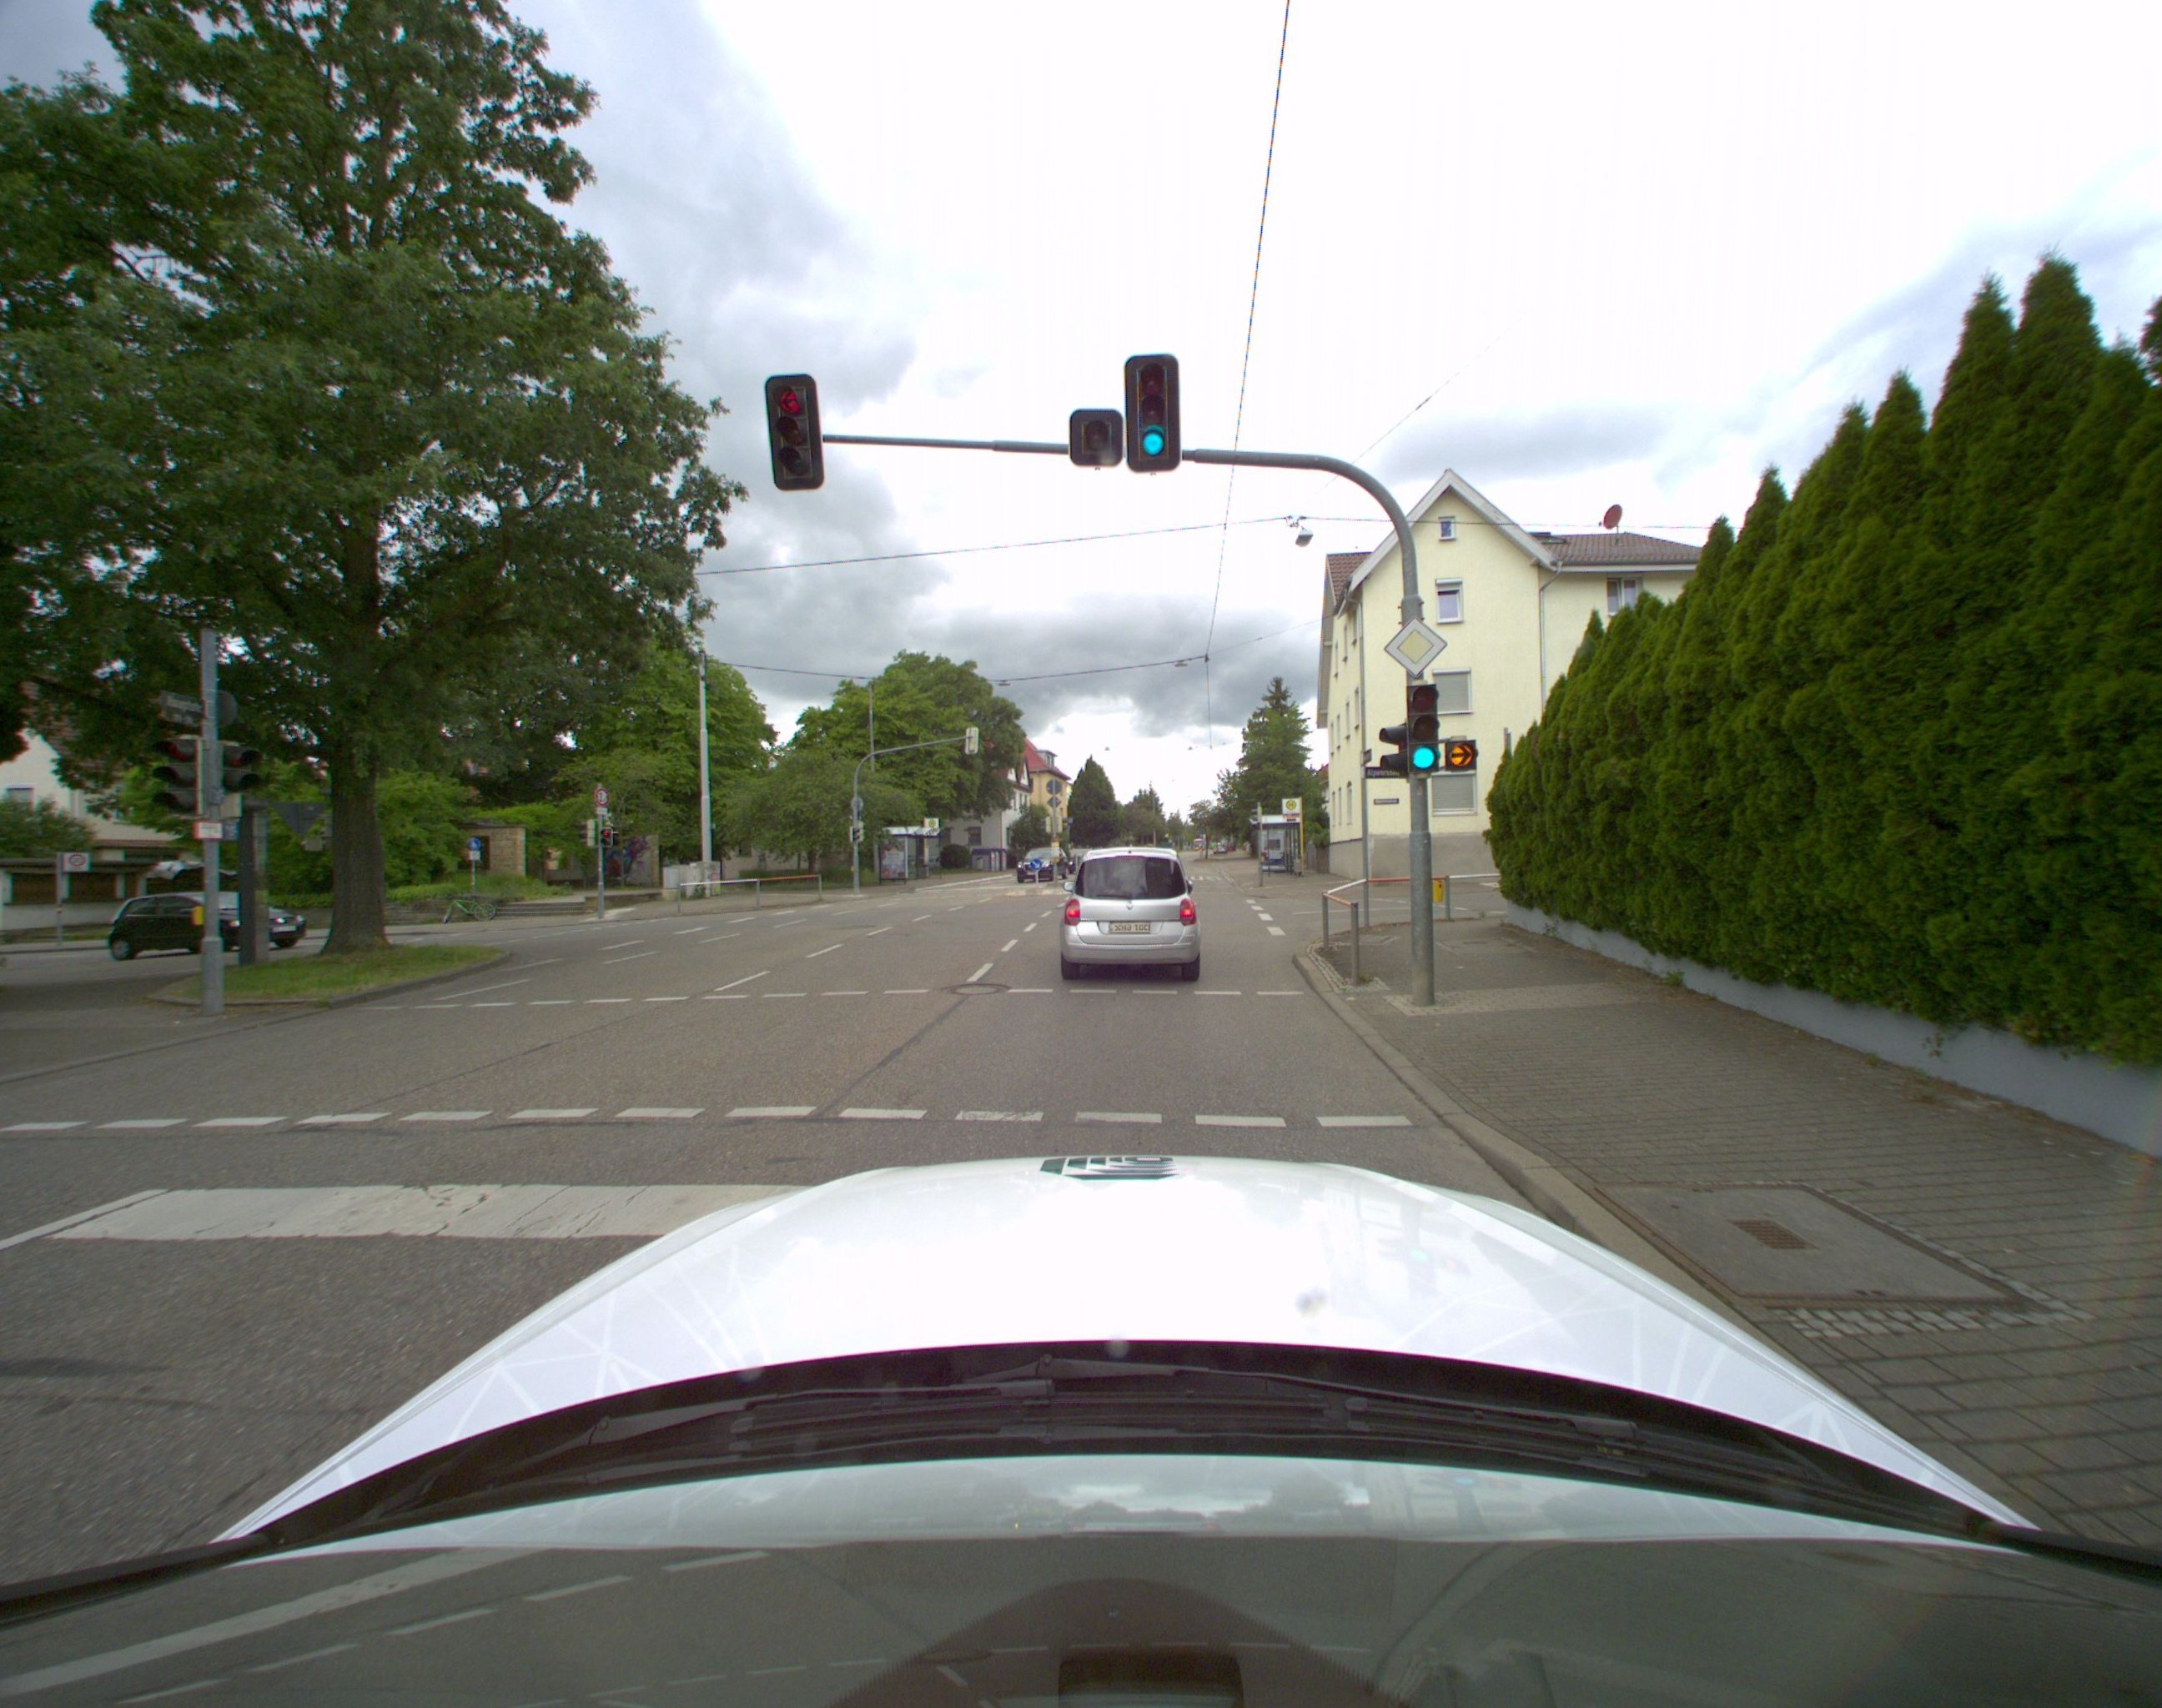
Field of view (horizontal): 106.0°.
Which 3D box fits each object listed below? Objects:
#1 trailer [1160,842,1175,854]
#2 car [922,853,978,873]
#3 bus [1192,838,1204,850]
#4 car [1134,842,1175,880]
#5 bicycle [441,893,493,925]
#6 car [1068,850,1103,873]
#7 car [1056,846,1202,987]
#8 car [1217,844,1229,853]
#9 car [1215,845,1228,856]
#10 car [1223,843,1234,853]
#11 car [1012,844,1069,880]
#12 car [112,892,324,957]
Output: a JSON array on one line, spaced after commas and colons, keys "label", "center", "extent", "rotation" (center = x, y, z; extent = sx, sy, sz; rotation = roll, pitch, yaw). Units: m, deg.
[{"label": "trailer", "center": [16.163, -1.118, 151.983], "extent": [2.298, 2.087, 5.889], "rotation": [0, 0, 10]}, {"label": "car", "center": [-10.324, 0.727, 64.204], "extent": [3.963, 1.332, 1.726], "rotation": [-4, -1, 9]}, {"label": "bus", "center": [32.550, -2.734, 225.825], "extent": [2.616, 3.086, 12.104], "rotation": [-3, 0, 10]}, {"label": "car", "center": [3.482, 0.309, 38.570], "extent": [1.821, 1.675, 3.579], "rotation": [-2, 0, 5]}, {"label": "bicycle", "center": [-20.838, 1.855, 27.634], "extent": [1.313, 0.942, 0.424], "rotation": [-4, 0, -7]}, {"label": "car", "center": [0.345, 0.478, 52.214], "extent": [1.554, 1.420, 4.142], "rotation": [-2, -1, 10]}, {"label": "car", "center": [0.655, 0.709, 11.082], "extent": [1.623, 1.557, 4.003], "rotation": [0, 0, 3]}, {"label": "car", "center": [22.621, -0.853, 129.398], "extent": [1.651, 1.393, 3.681], "rotation": [-1, 0, 14]}, {"label": "car", "center": [19.111, -0.494, 110.752], "extent": [1.639, 1.382, 4.013], "rotation": [-1, -1, 12]}, {"label": "car", "center": [24.216, -0.950, 134.127], "extent": [1.652, 1.564, 4.109], "rotation": [-1, 0, 9]}, {"label": "car", "center": [-1.952, 0.415, 40.921], "extent": [1.747, 1.635, 4.608], "rotation": [-3, -1, 11]}, {"label": "car", "center": [-21.102, 1.709, 19.997], "extent": [3.613, 1.398, 1.776], "rotation": [-1, -1, 8]}]
